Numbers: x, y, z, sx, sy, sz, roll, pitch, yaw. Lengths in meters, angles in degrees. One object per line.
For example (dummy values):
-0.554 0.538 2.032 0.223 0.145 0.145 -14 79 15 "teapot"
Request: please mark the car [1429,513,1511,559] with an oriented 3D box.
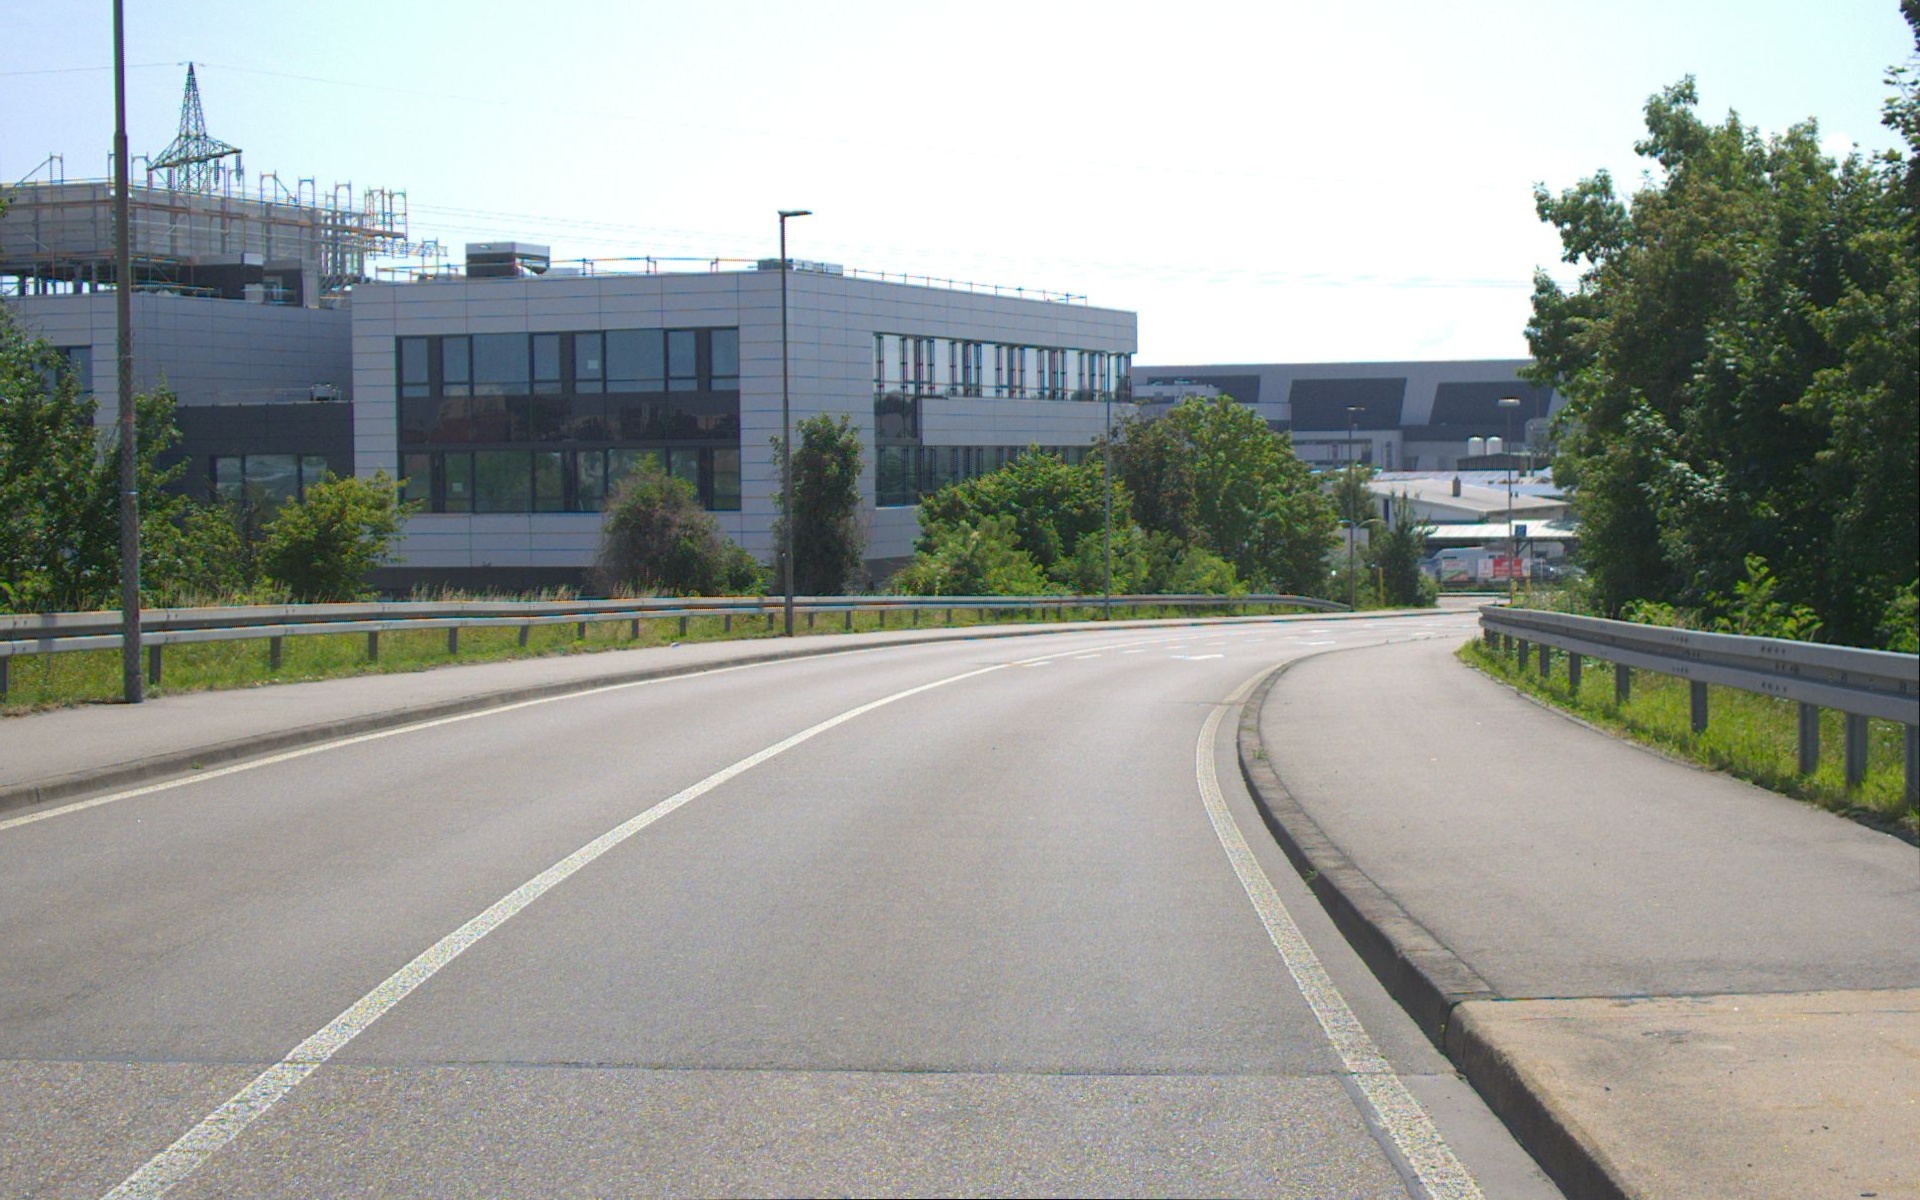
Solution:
29.075 -3.662 196.254 1.994 2.599 4.364 0 1 -41 "car"
